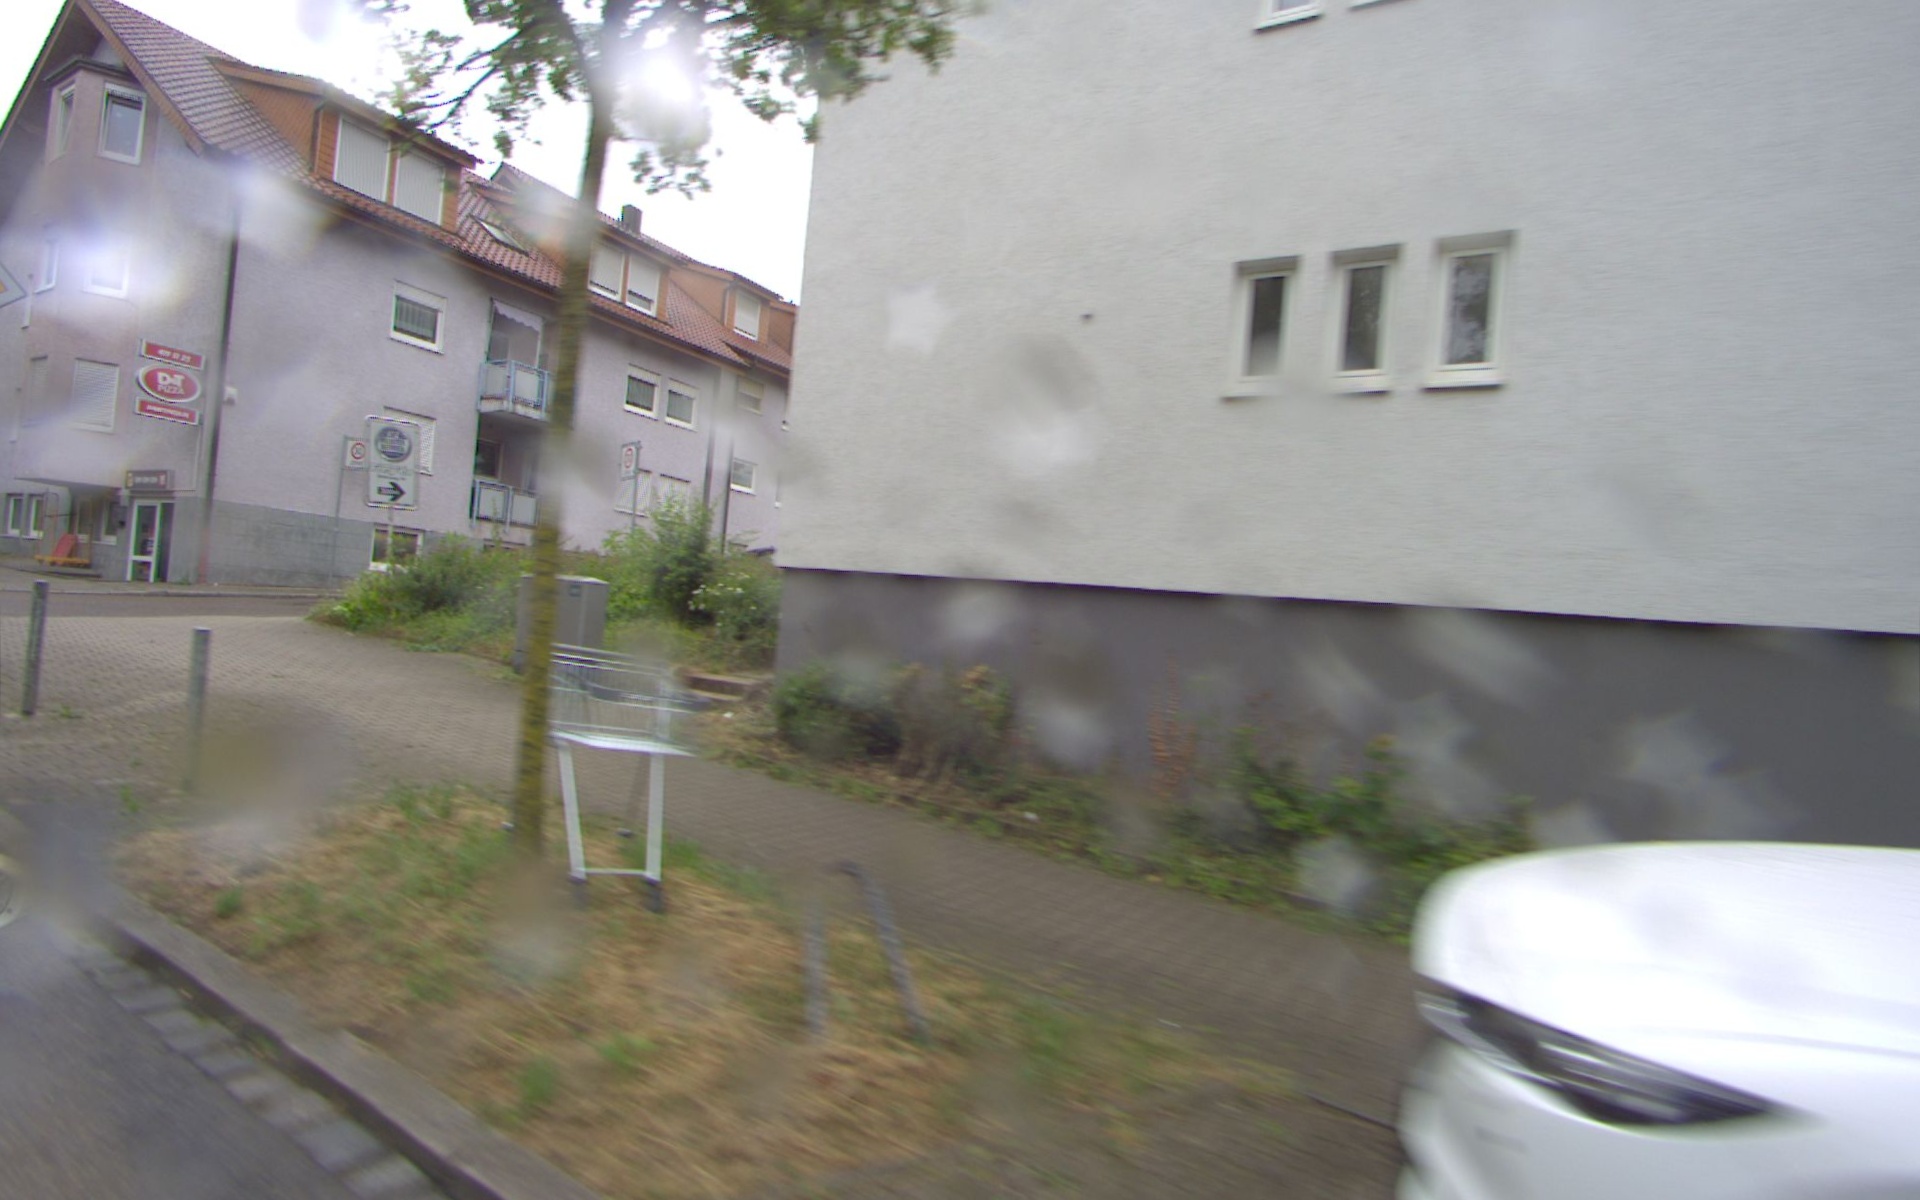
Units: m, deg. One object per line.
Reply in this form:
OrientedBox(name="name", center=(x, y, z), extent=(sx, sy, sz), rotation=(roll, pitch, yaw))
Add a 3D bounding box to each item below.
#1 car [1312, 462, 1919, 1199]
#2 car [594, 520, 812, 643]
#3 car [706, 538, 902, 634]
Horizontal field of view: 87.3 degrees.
OrientedBox(name="car", center=(3.021, 0.958, 1.341), extent=(4.466, 1.795, 1.825), rotation=(8, 1, 33))
OrientedBox(name="car", center=(-4.623, -0.357, 17.970), extent=(3.614, 1.707, 1.679), rotation=(9, 4, 33))
OrientedBox(name="car", center=(-3.076, -0.313, 19.620), extent=(3.542, 1.605, 1.643), rotation=(5, 3, 33))
